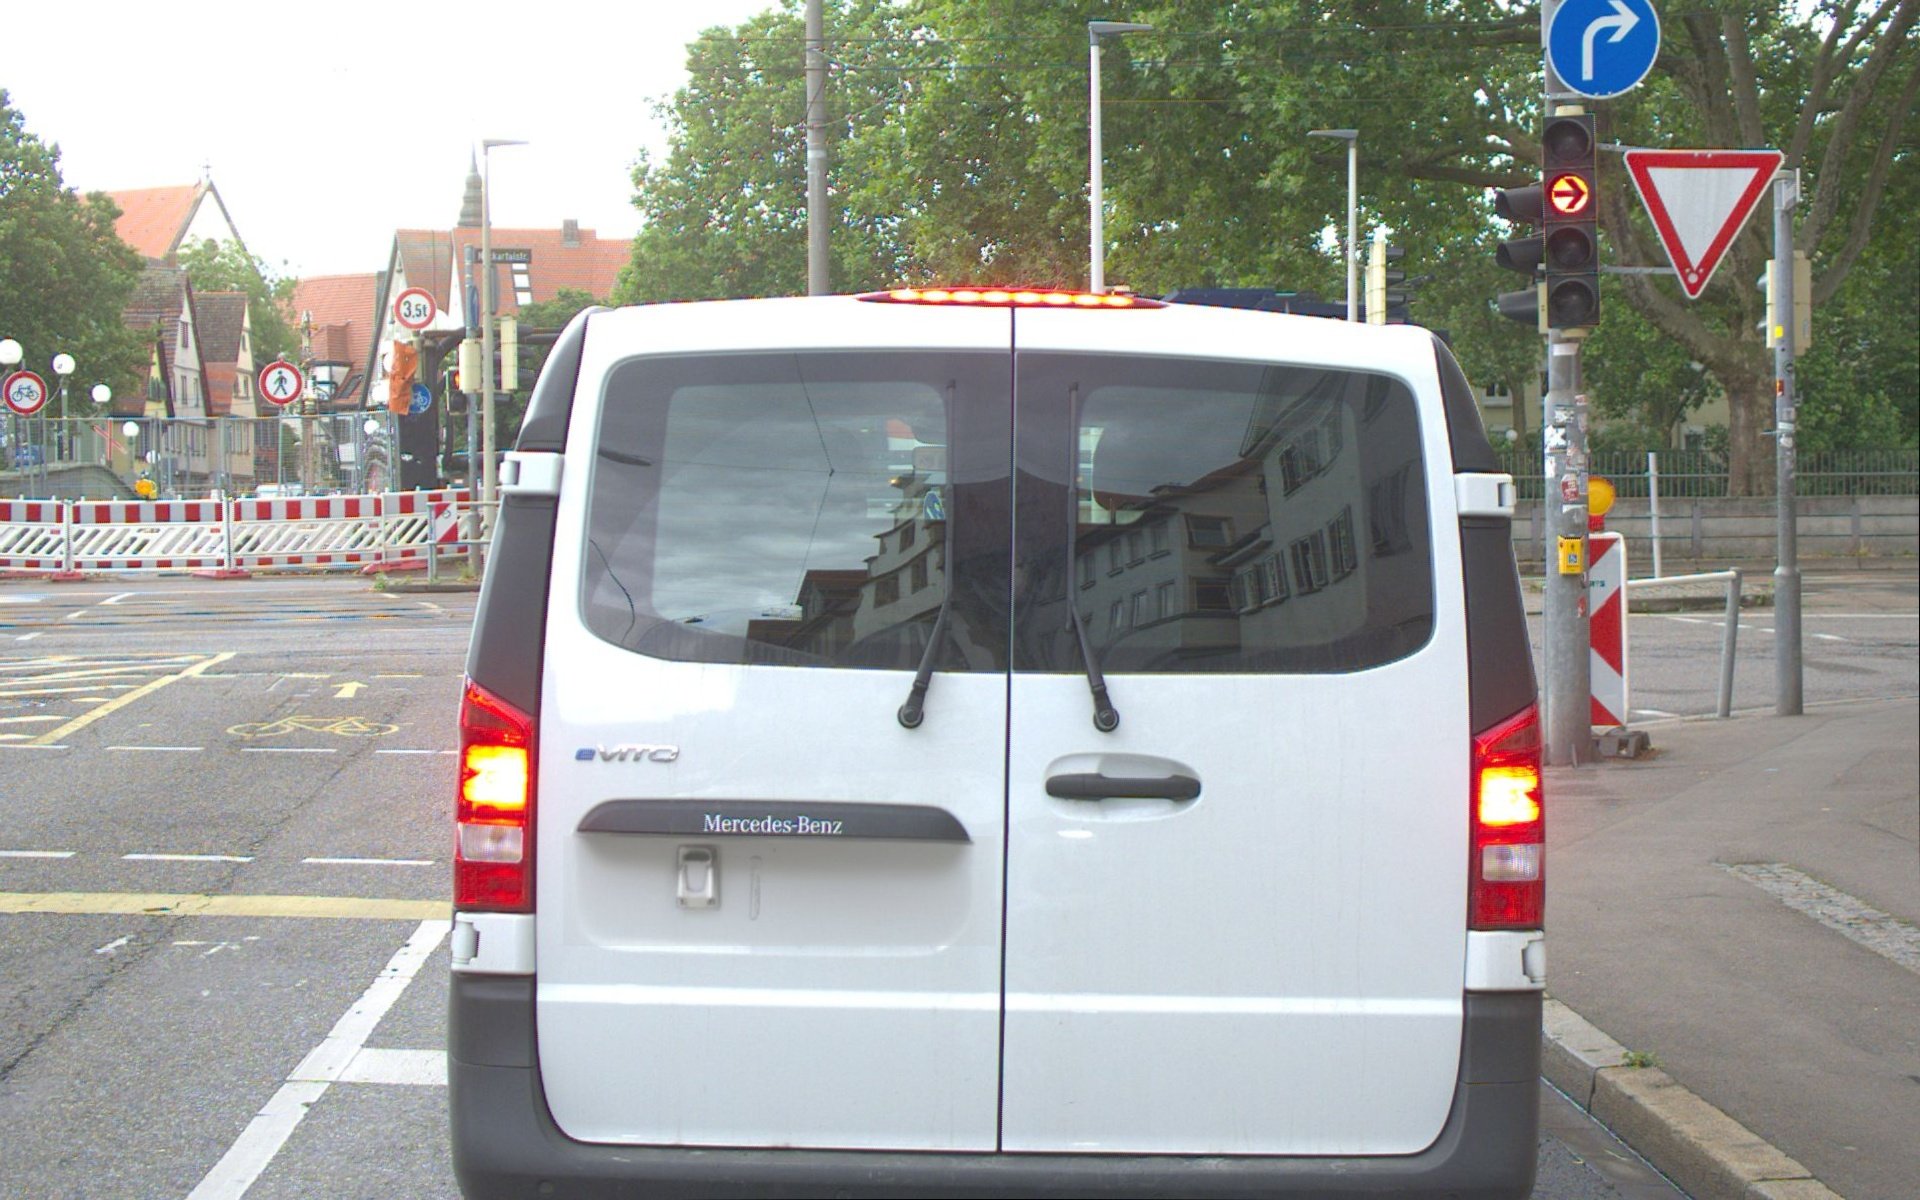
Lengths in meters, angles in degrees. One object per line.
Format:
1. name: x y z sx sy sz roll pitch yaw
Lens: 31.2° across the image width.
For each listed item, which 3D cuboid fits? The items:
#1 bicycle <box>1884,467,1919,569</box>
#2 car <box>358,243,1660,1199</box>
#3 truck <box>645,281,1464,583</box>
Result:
1. bicycle: 16.045 -1.272 53.000 3.144 1.564 1.471 -1 1 -14
2. car: -0.023 0.320 7.430 1.993 1.916 4.250 1 3 -3
3. truck: 1.179 -2.099 43.824 10.182 3.683 2.272 0 1 -10
